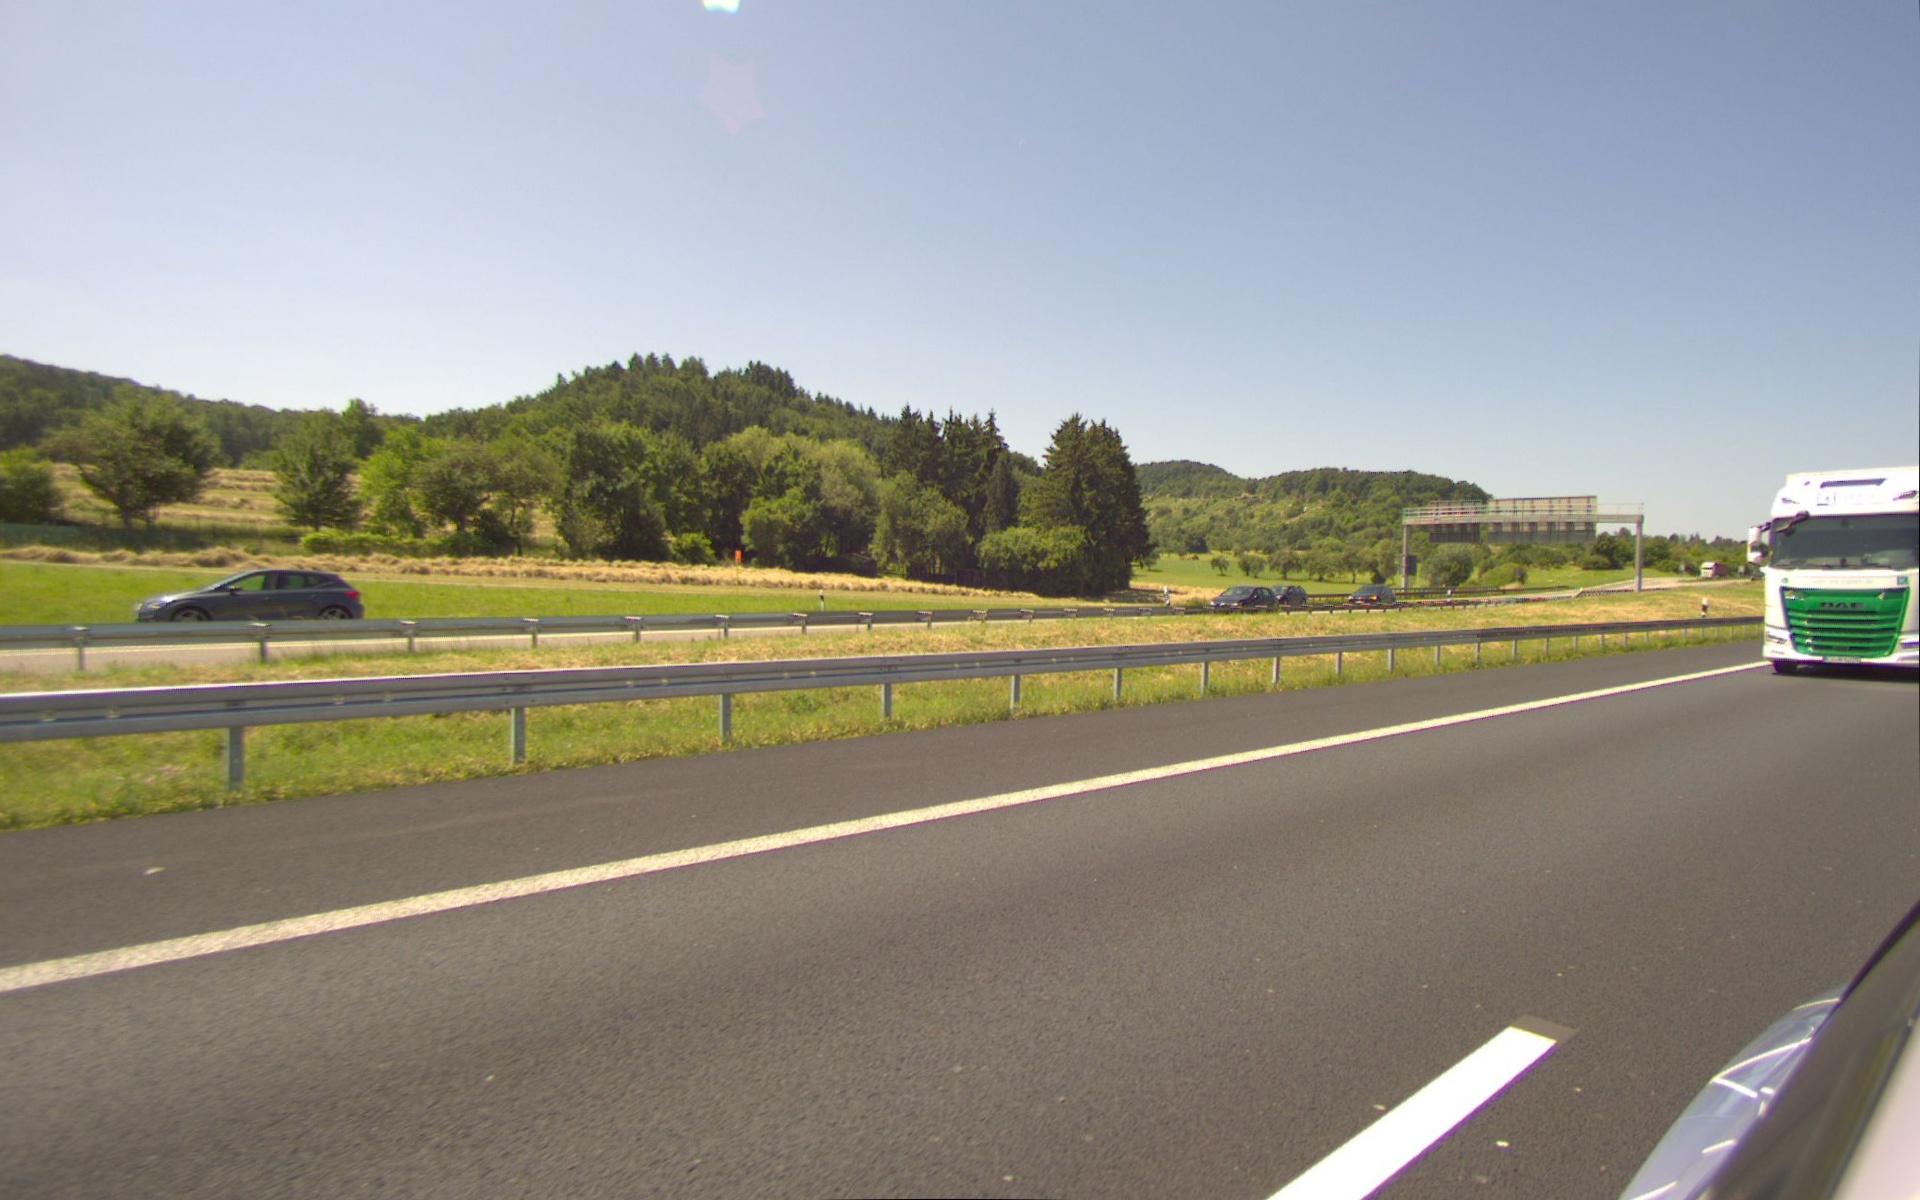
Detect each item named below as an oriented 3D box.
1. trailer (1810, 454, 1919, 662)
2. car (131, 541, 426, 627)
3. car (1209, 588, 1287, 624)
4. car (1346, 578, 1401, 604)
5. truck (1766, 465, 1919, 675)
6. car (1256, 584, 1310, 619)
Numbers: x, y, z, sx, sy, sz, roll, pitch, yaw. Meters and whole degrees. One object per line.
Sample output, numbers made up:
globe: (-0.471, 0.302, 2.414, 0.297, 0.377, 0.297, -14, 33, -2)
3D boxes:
trailer: (24.860, -0.917, 25.813, 14.635, 4.241, 2.660, -1, 0, -41)
car: (-14.836, -0.342, 22.270, 5.142, 1.683, 1.995, -1, 1, -44)
car: (11.996, 0.221, 42.049, 1.774, 1.417, 3.708, 0, 1, 39)
car: (24.923, -0.535, 60.964, 1.886, 1.491, 3.808, 0, 1, 42)
truck: (17.715, -0.548, 19.544, 4.328, 3.638, 2.646, -1, 0, -41)
car: (19.842, 0.061, 62.113, 1.989, 2.039, 3.946, 0, 0, 37)
